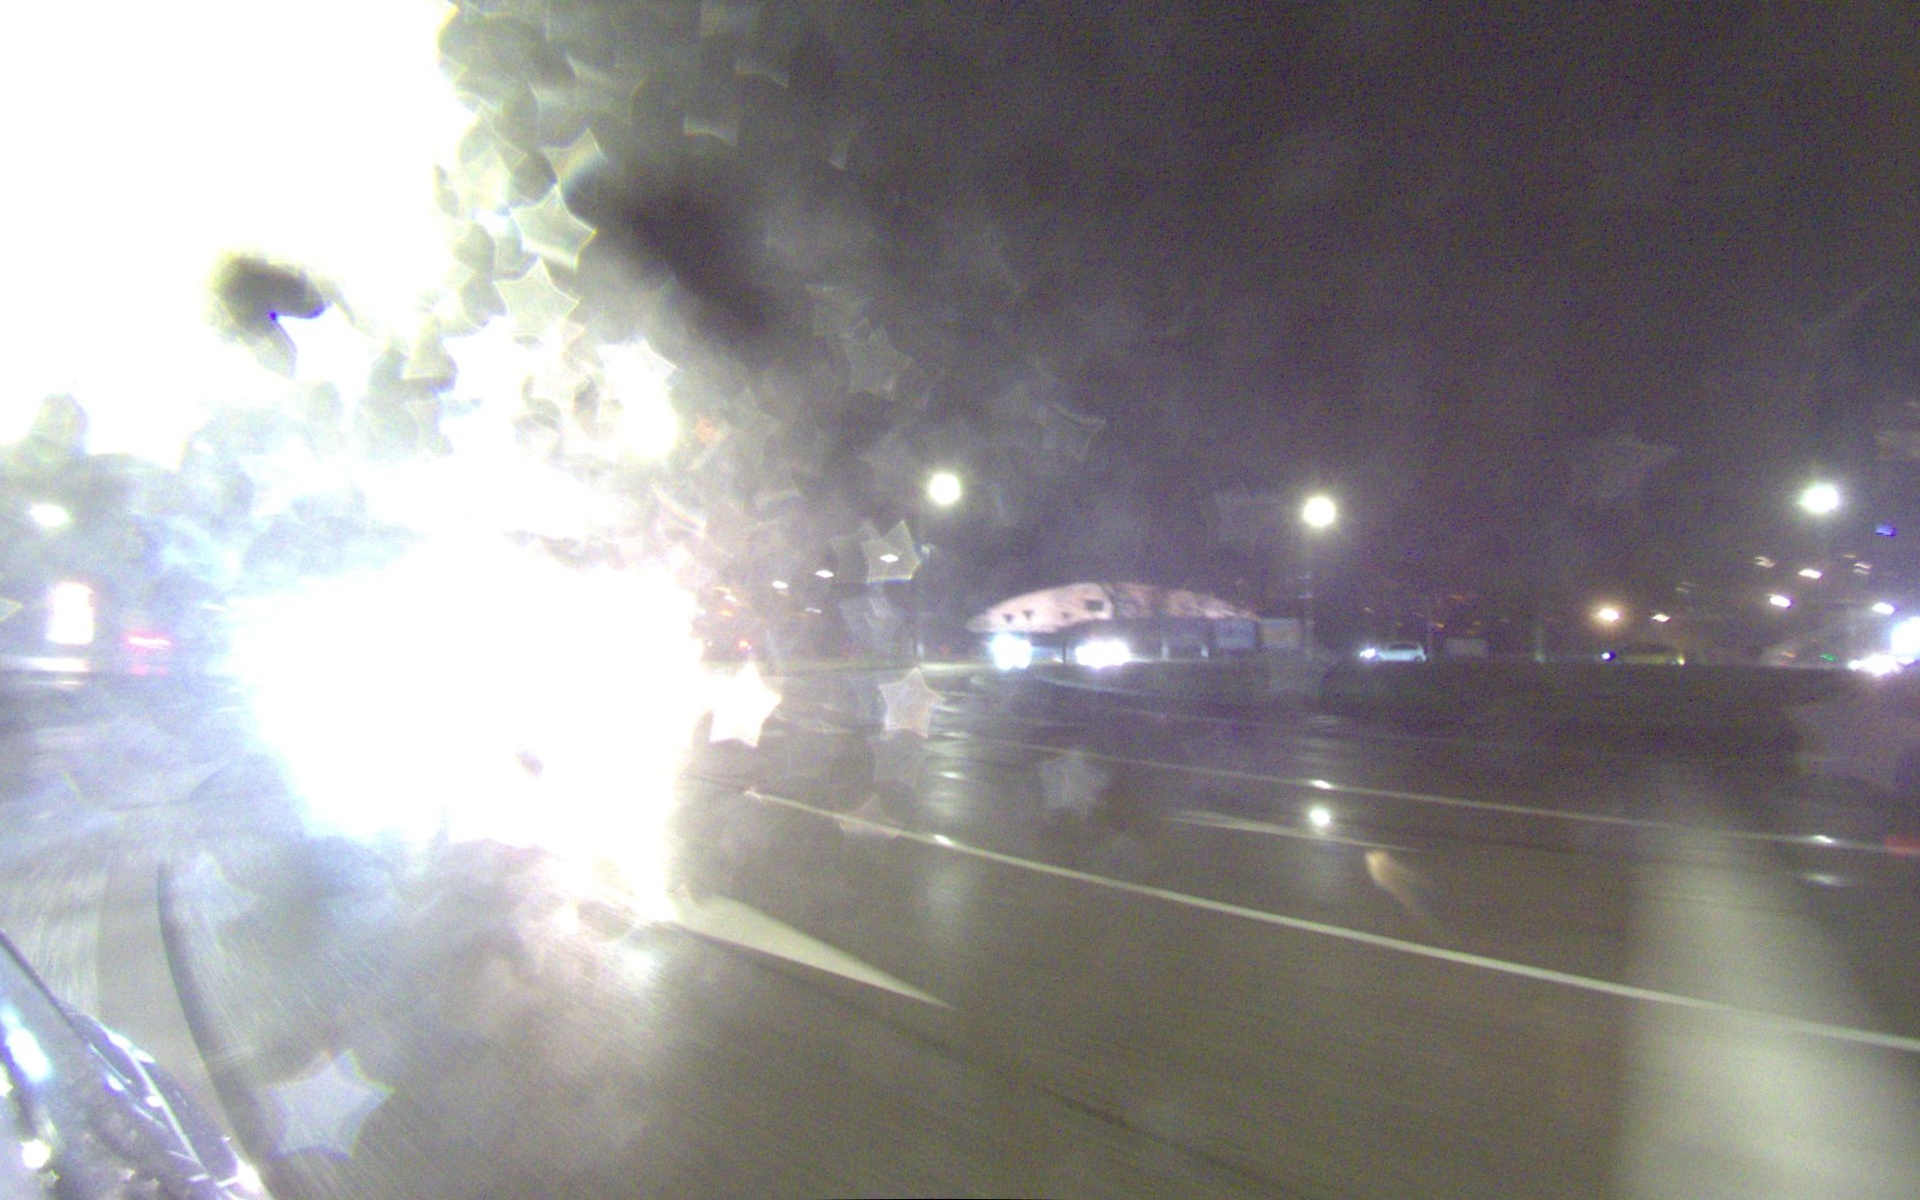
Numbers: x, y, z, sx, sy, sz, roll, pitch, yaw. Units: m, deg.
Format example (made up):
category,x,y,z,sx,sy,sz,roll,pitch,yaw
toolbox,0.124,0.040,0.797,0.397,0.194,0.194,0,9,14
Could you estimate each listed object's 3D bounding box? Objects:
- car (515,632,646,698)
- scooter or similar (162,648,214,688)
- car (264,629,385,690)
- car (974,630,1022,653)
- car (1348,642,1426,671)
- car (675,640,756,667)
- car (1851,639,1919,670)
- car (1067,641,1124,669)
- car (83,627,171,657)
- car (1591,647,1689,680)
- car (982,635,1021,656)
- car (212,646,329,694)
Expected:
category,x,y,z,sx,sy,sz,roll,pitch,yaw
car,-10.300,1.669,27.267,1.806,1.538,4.883,1,-1,-40
scooter or similar,-21.505,1.894,28.195,1.087,1.106,0.318,3,-3,-40
car,-19.813,1.779,31.499,4.438,1.732,1.926,-1,-1,40
car,3.519,3.832,93.552,1.968,2.029,4.429,1,-1,-40
car,25.232,3.354,59.903,3.824,1.630,1.770,0,-1,5
car,-13.108,2.863,54.433,3.895,1.383,1.828,0,-1,3
car,48.201,2.772,51.531,4.006,1.455,1.813,-1,-1,33
car,8.618,3.483,64.699,1.729,1.586,4.013,0,-1,-24
car,-51.230,2.551,62.244,5.096,1.745,2.048,-1,-1,22
car,35.681,3.315,53.211,3.837,1.630,1.764,0,-1,15
car,3.323,3.645,81.575,1.650,1.541,4.013,0,-1,-21
car,-27.053,2.708,39.716,4.166,1.719,1.821,-1,-1,23
